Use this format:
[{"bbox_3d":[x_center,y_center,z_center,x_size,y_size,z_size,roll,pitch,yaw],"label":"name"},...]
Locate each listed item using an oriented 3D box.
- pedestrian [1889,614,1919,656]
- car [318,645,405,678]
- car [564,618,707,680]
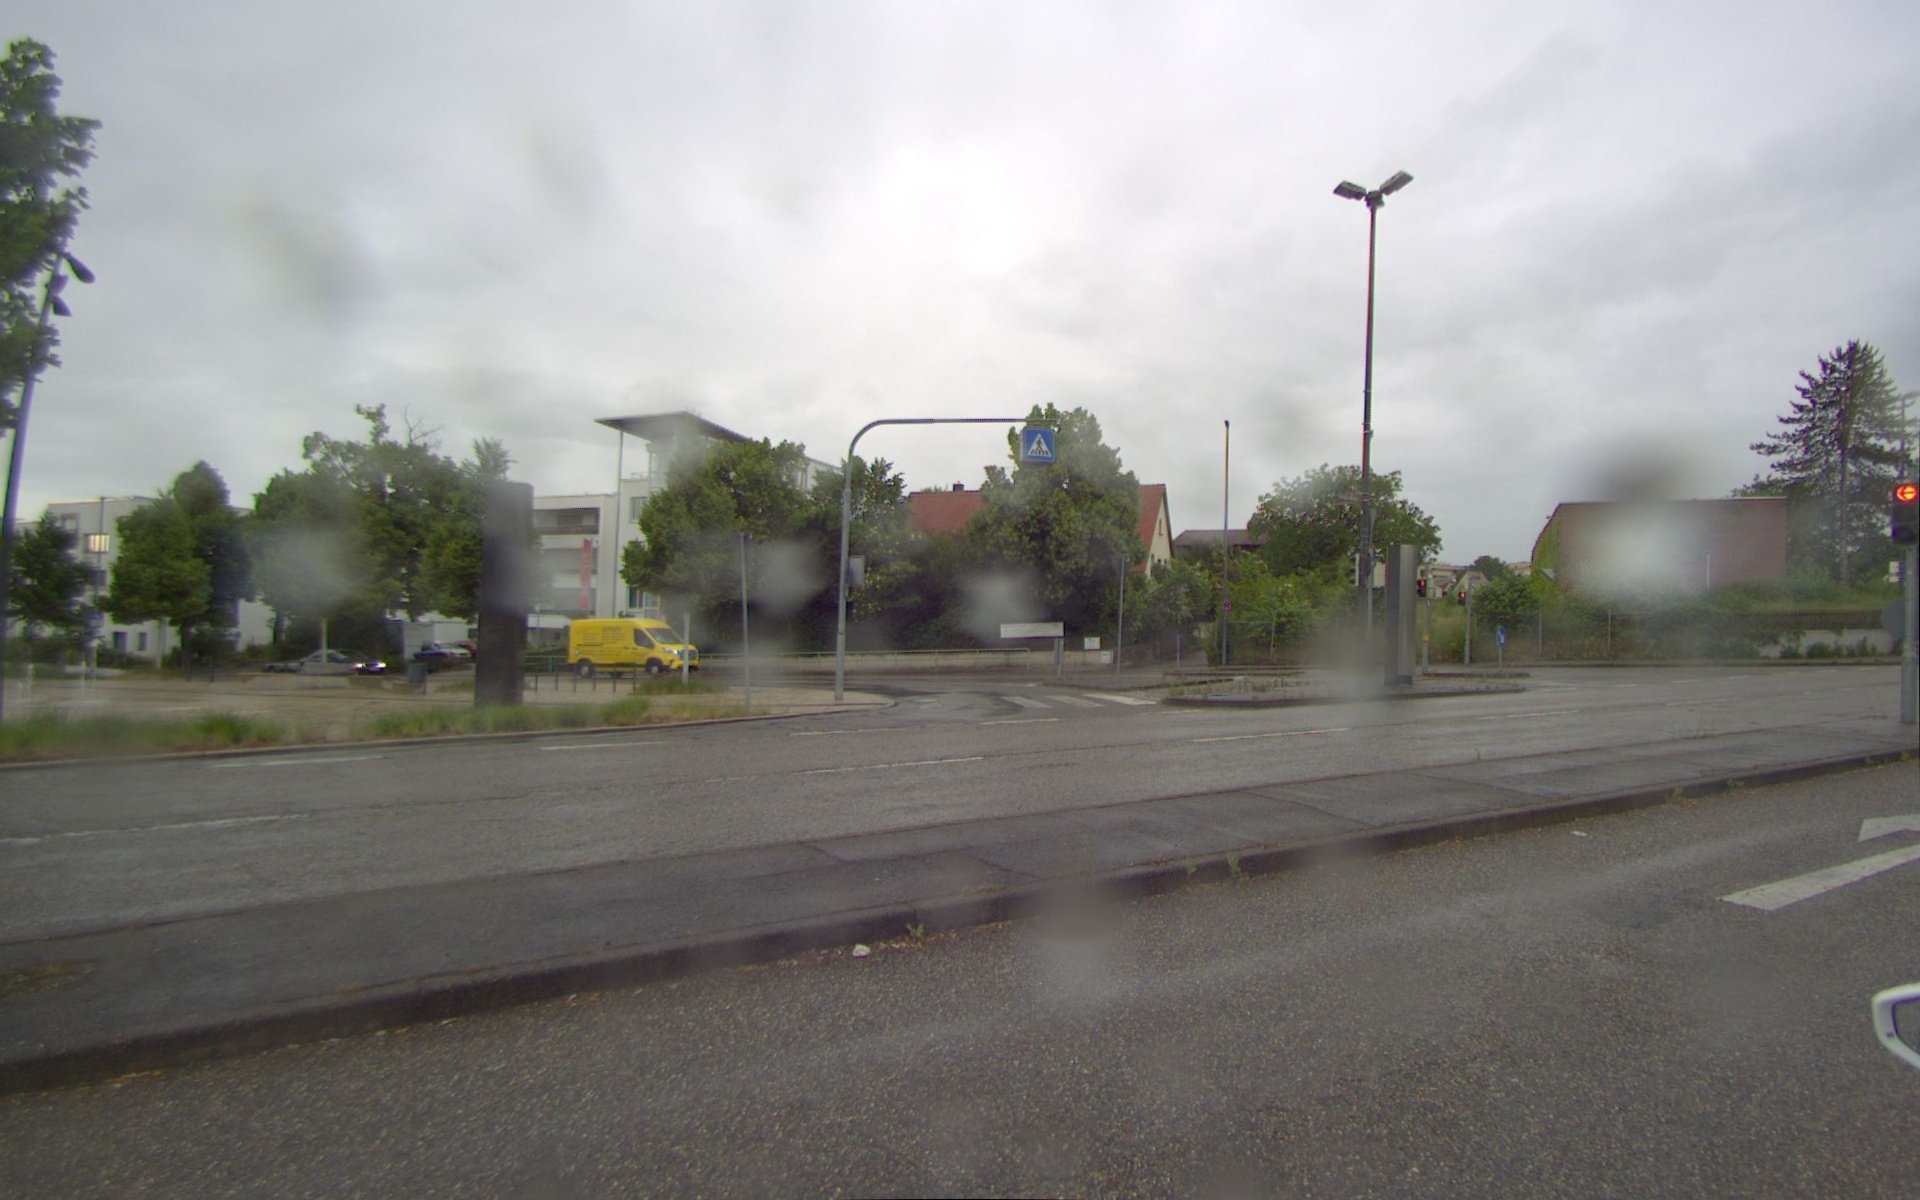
[{"bbox_3d":[36.388,1.368,38.622,0.816,1.588,0.756,1,-3,-31],"label":"pedestrian"},{"bbox_3d":[-29.345,3.014,49.242,3.929,1.559,1.997,-2,-3,29],"label":"car"},{"bbox_3d":[-13.563,2.072,41.889,5.804,2.441,1.999,-2,-3,24],"label":"car"}]
